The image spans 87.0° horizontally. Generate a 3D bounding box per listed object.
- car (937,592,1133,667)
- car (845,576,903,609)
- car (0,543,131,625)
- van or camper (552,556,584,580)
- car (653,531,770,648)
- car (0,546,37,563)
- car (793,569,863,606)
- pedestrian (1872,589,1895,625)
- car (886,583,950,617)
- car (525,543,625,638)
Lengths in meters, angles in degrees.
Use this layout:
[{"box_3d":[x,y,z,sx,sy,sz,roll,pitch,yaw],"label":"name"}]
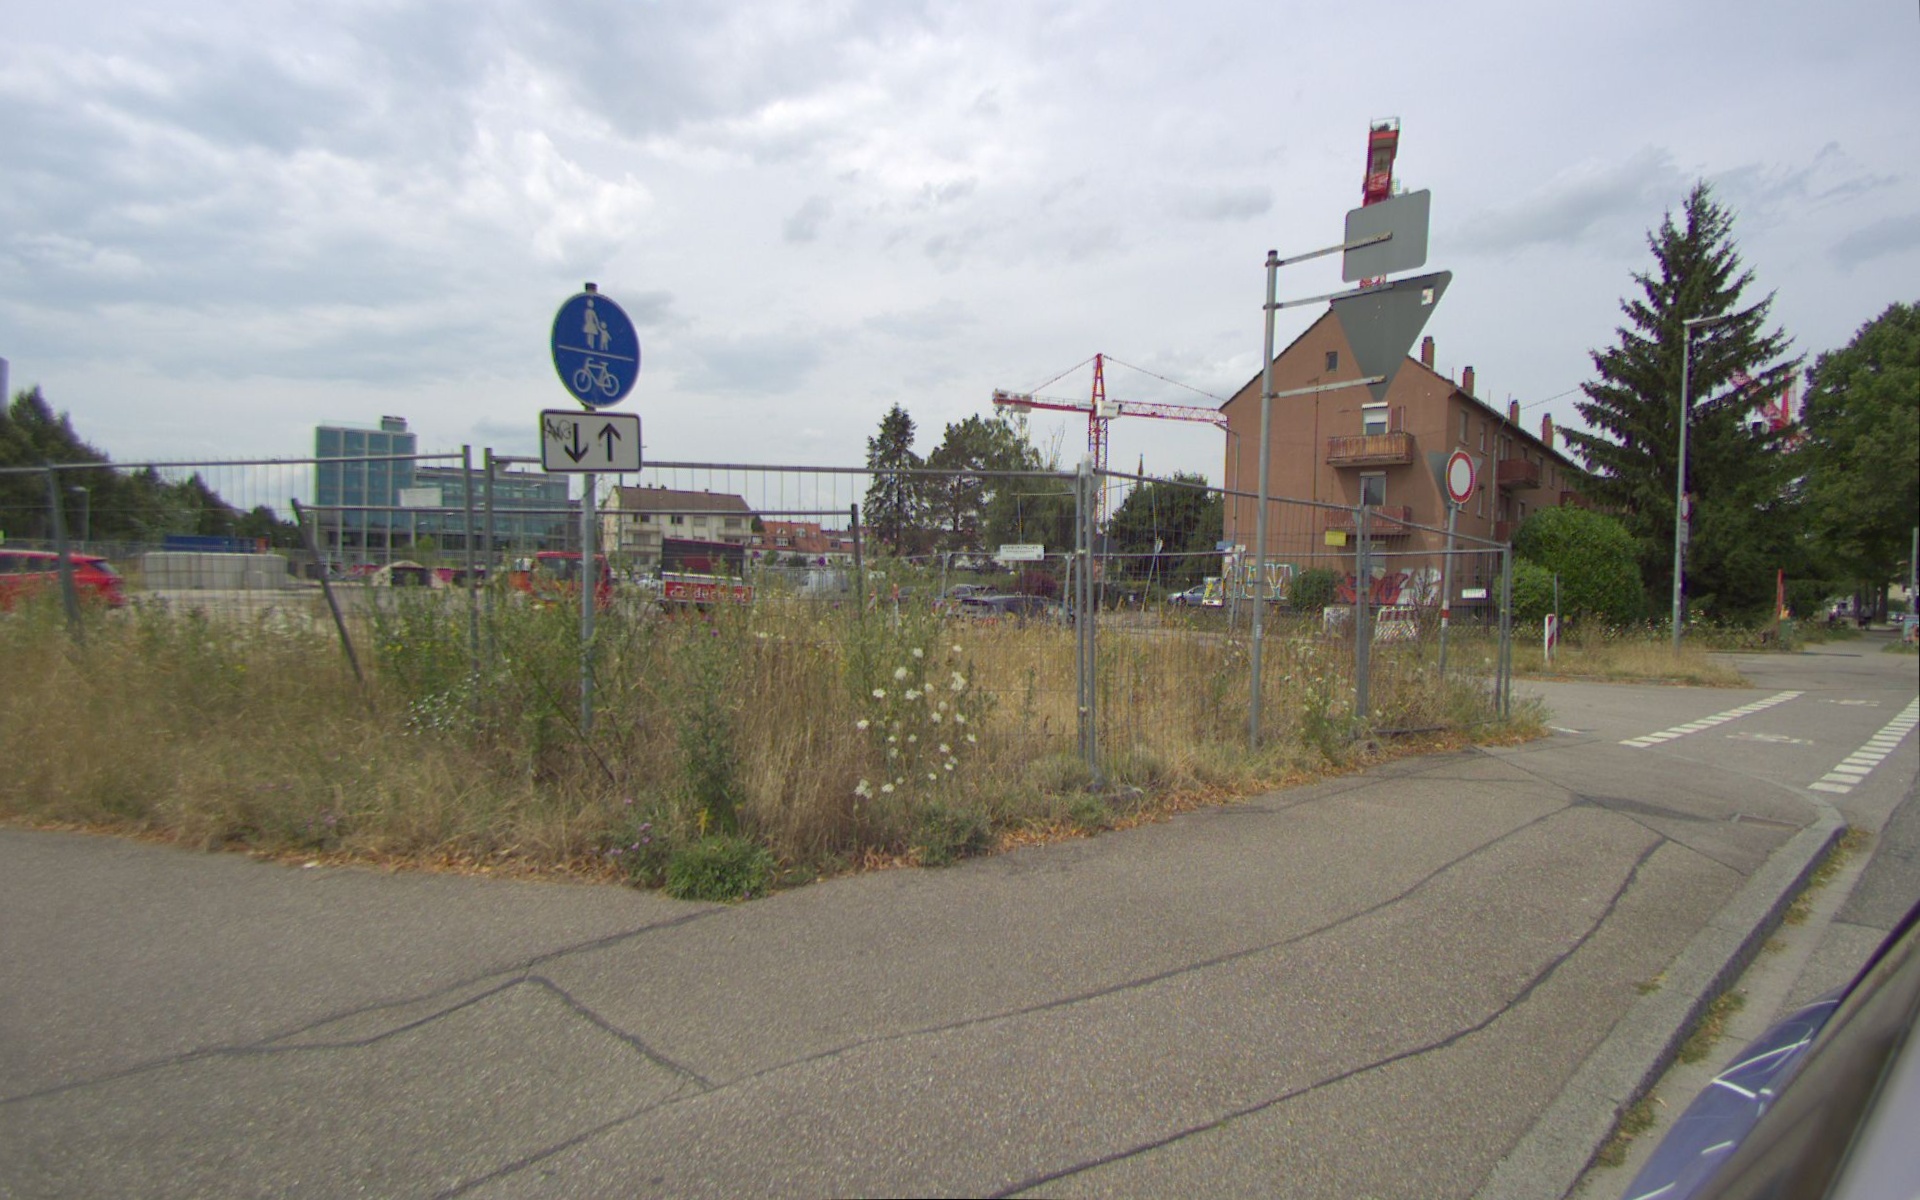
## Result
[{"box_3d":[1.703,0.606,22.398,4.179,1.492,1.767,1,1,-37],"label":"car"},{"box_3d":[-4.915,-0.457,57.397,1.820,1.771,4.019,1,1,-29],"label":"car"},{"box_3d":[-19.925,-0.341,20.242,5.043,1.624,1.789,1,1,-37],"label":"car"},{"box_3d":[-46.157,-3.793,119.114,2.307,2.721,5.247,1,1,-34],"label":"van or camper"},{"box_3d":[-6.193,-0.292,24.578,2.269,2.442,6.557,1,1,-18],"label":"car"},{"box_3d":[-80.474,-3.847,86.160,1.960,1.391,4.005,1,1,-30],"label":"car"},{"box_3d":[-8.136,-0.805,62.081,2.107,2.163,4.909,1,1,-36],"label":"car"},{"box_3d":[53.861,0.399,59.022,0.849,2.039,0.723,2,0,32],"label":"pedestrian"},{"box_3d":[-2.245,-0.022,53.044,1.765,1.622,4.020,1,1,-28],"label":"car"},{"box_3d":[-9.052,-0.242,24.065,1.896,1.934,4.999,4,0,-19],"label":"car"}]
